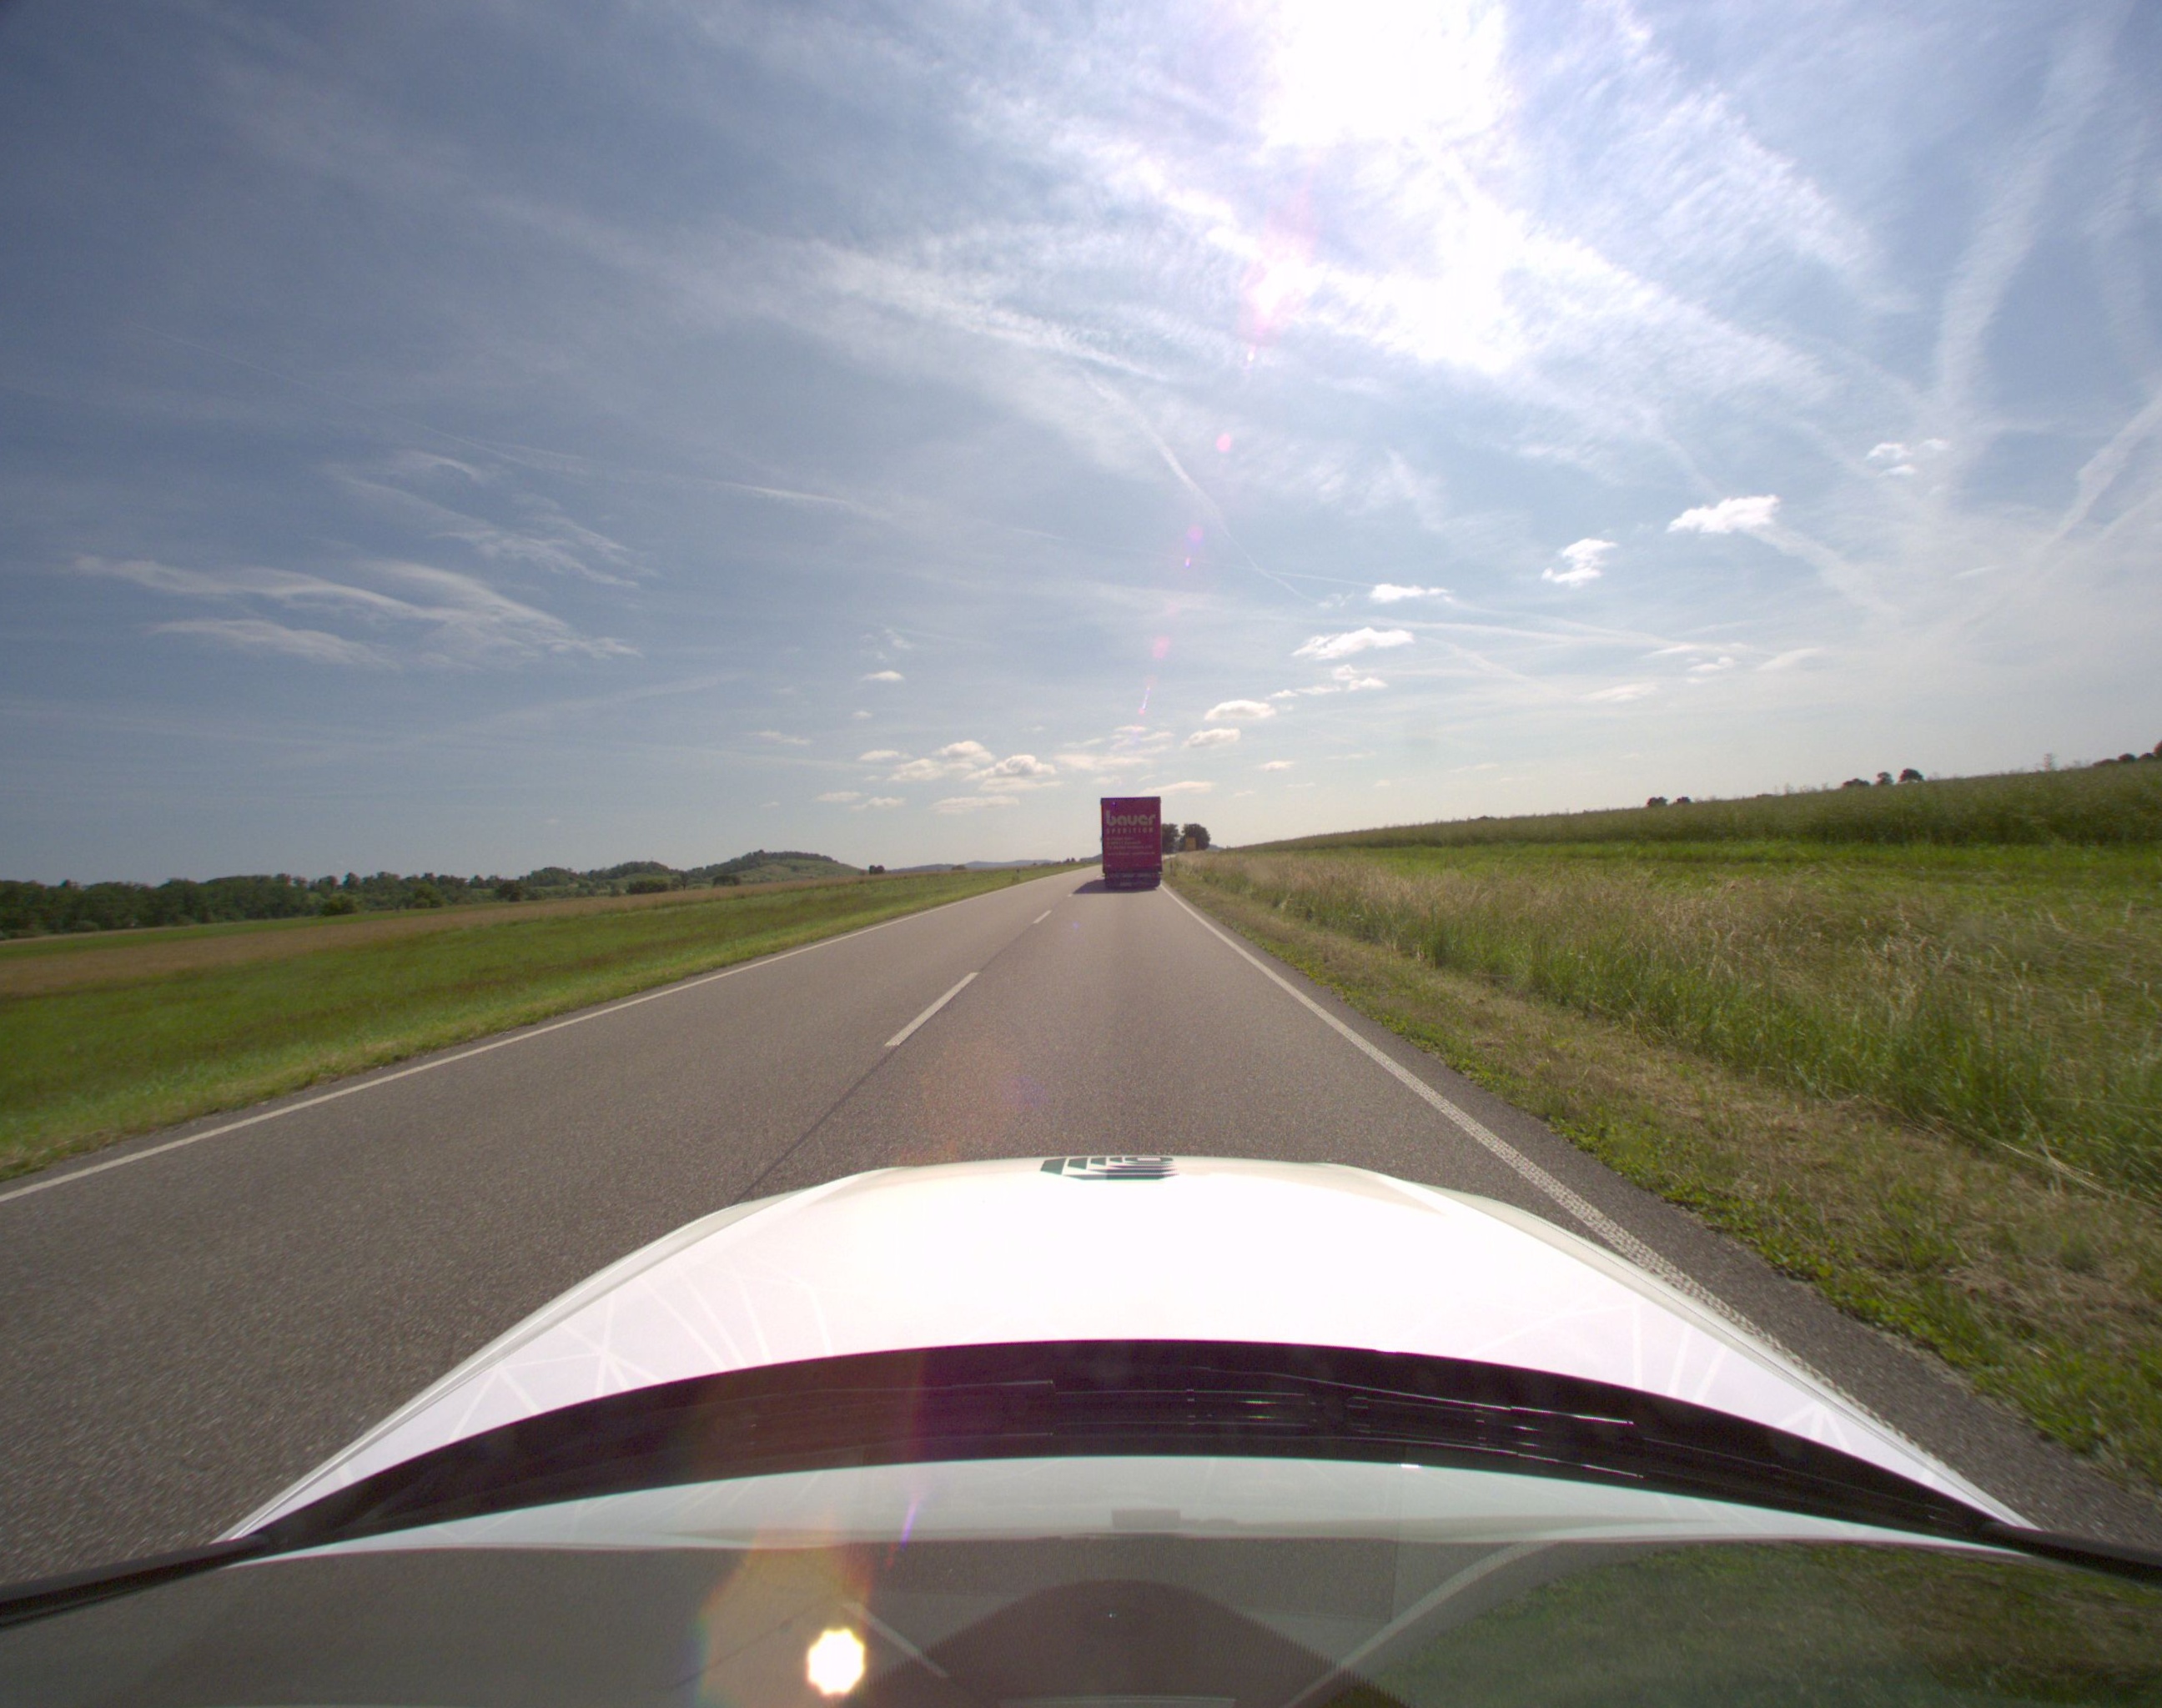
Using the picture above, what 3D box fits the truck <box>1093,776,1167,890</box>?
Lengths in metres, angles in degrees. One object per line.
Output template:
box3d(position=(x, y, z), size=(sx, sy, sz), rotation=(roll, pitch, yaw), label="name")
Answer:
box3d(position=(2.355, -0.921, 38.801), size=(2.962, 4.713, 9.376), rotation=(-2, 0, 4), label="truck")
